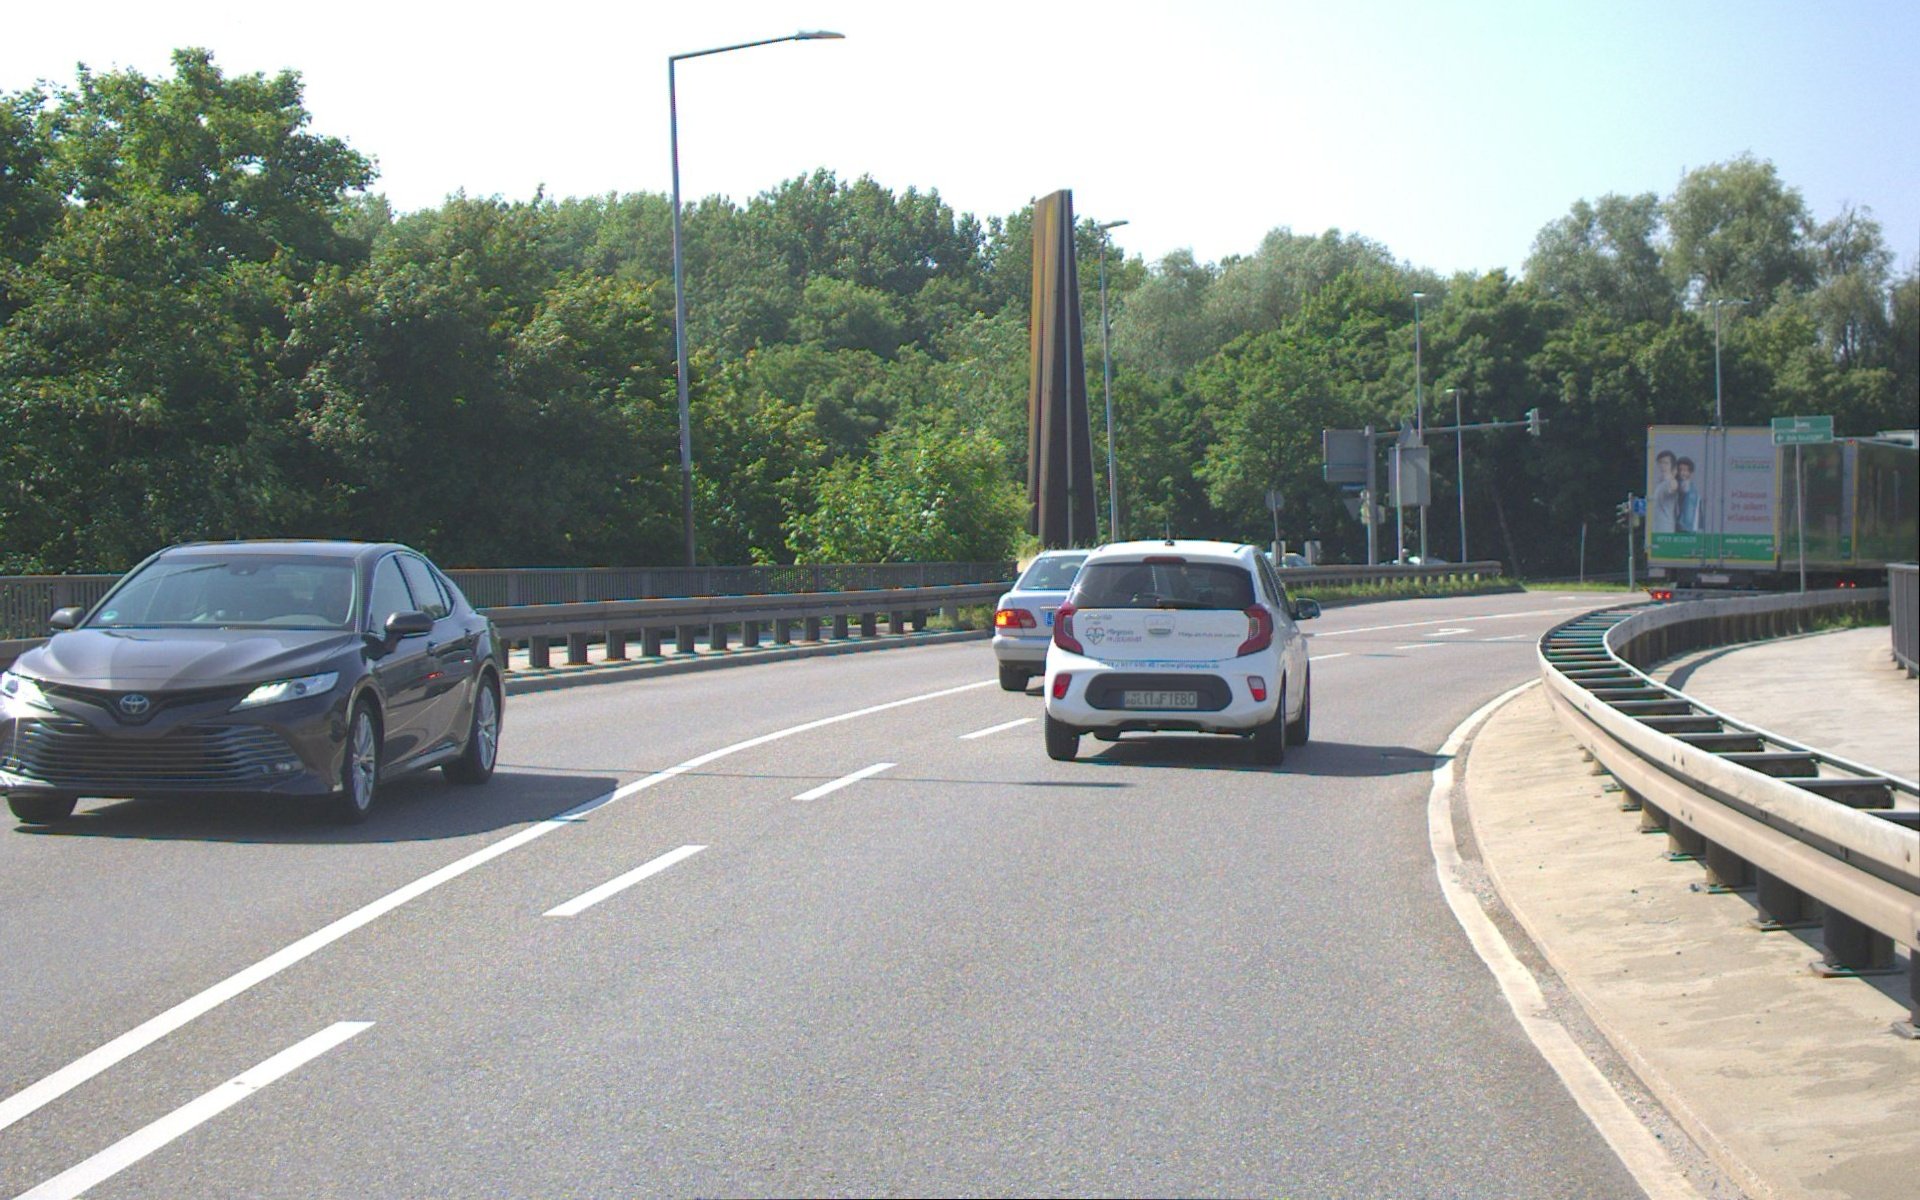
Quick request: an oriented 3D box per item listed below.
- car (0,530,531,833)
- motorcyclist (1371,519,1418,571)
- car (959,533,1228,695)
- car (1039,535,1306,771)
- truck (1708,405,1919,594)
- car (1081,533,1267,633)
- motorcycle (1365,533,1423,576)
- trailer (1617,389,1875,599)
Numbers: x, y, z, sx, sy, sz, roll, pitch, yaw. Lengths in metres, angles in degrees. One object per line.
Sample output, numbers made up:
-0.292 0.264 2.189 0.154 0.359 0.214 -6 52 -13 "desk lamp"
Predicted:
-3.826 0.347 19.005 1.818 1.425 4.863 0 1 6 "car"
15.659 -1.973 123.921 0.890 1.864 1.464 1 0 -40 "motorcyclist"
1.426 0.087 34.544 1.940 1.481 4.898 1 1 11 "car"
1.577 0.313 24.439 1.702 1.489 3.999 2 1 6 "car"
18.755 -2.129 74.216 3.265 3.745 8.360 3 2 24 "truck"
3.412 -0.302 53.952 1.857 1.437 4.512 1 2 18 "car"
15.646 -1.633 123.914 0.896 1.524 1.982 1 0 -40 "motorcycle"
15.389 -2.021 66.835 3.229 3.745 7.814 3 2 24 "trailer"
